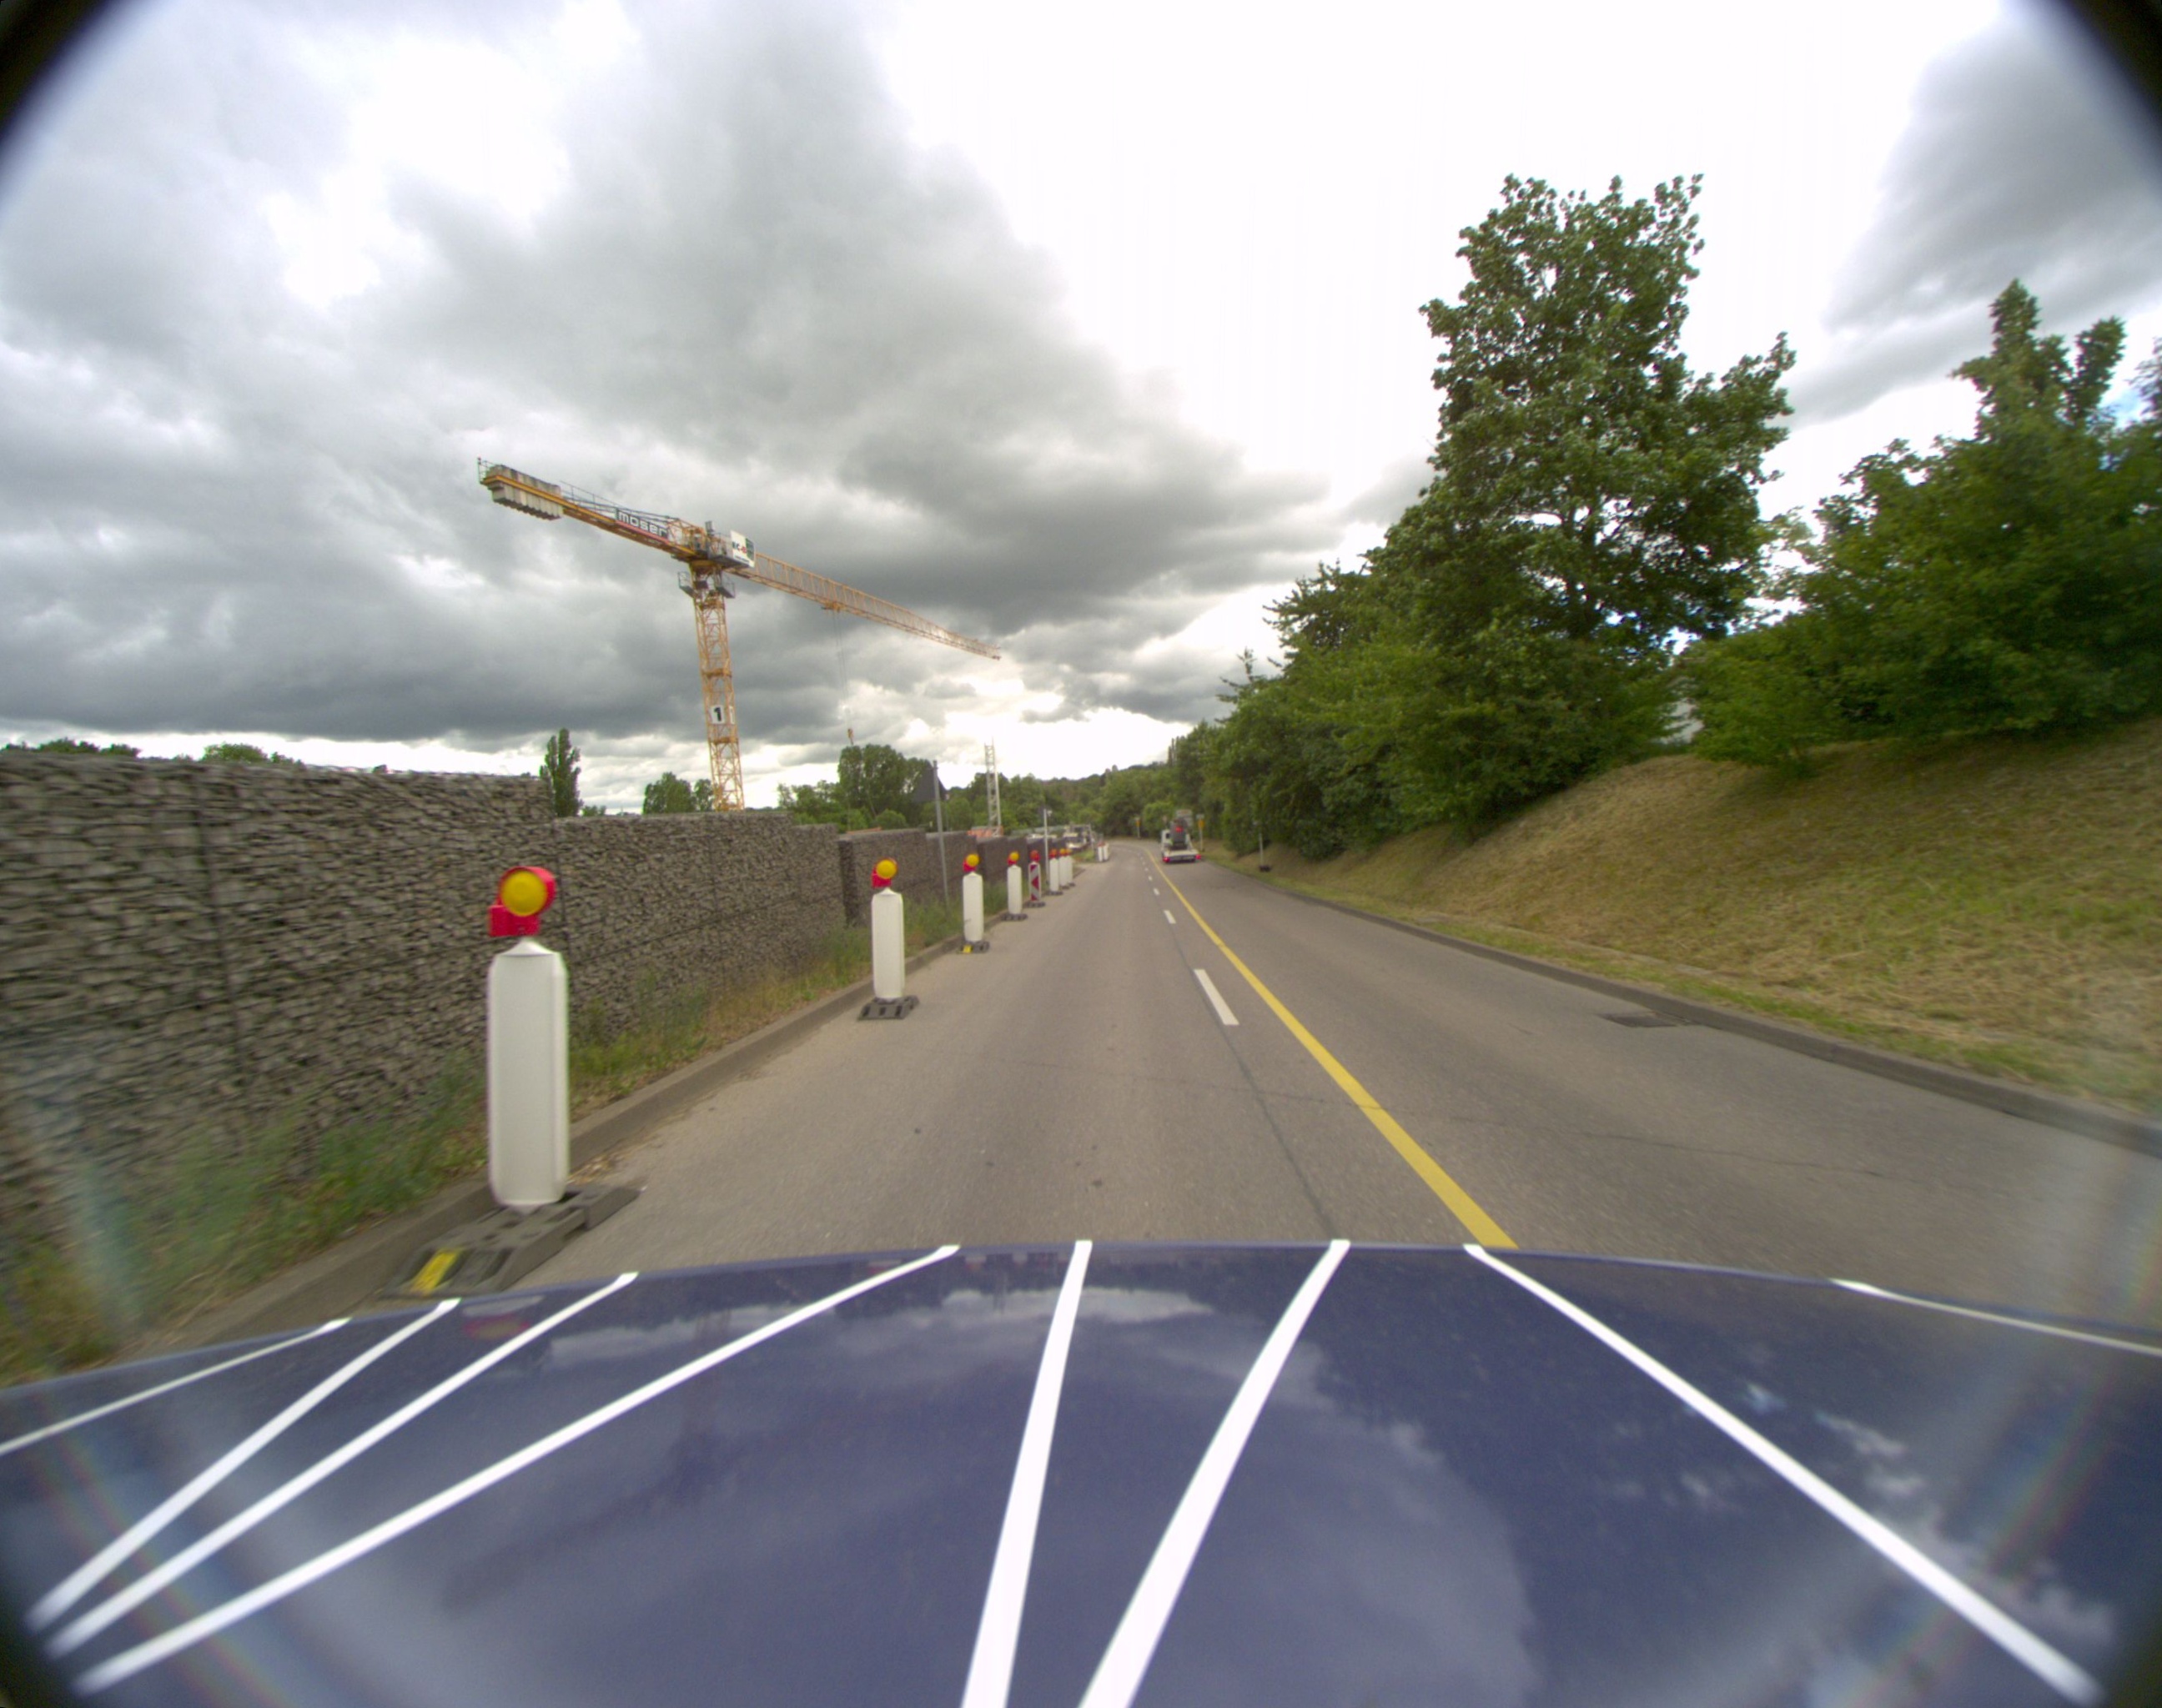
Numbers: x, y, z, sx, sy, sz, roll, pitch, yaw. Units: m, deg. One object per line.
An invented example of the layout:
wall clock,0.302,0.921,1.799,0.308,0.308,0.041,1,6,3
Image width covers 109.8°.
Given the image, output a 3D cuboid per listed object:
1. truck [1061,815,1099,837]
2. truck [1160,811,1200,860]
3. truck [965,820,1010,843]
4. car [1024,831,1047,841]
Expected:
truck,-0.221,-4.399,120.603,2.762,3.240,7.594,-6,3,-24
truck,6.549,-1.237,51.085,2.220,2.997,7.740,-2,1,4
truck,-18.128,-4.308,146.574,3.046,3.877,9.975,-8,4,-43
car,-7.992,-3.186,134.421,1.897,1.555,4.089,-8,4,-39
